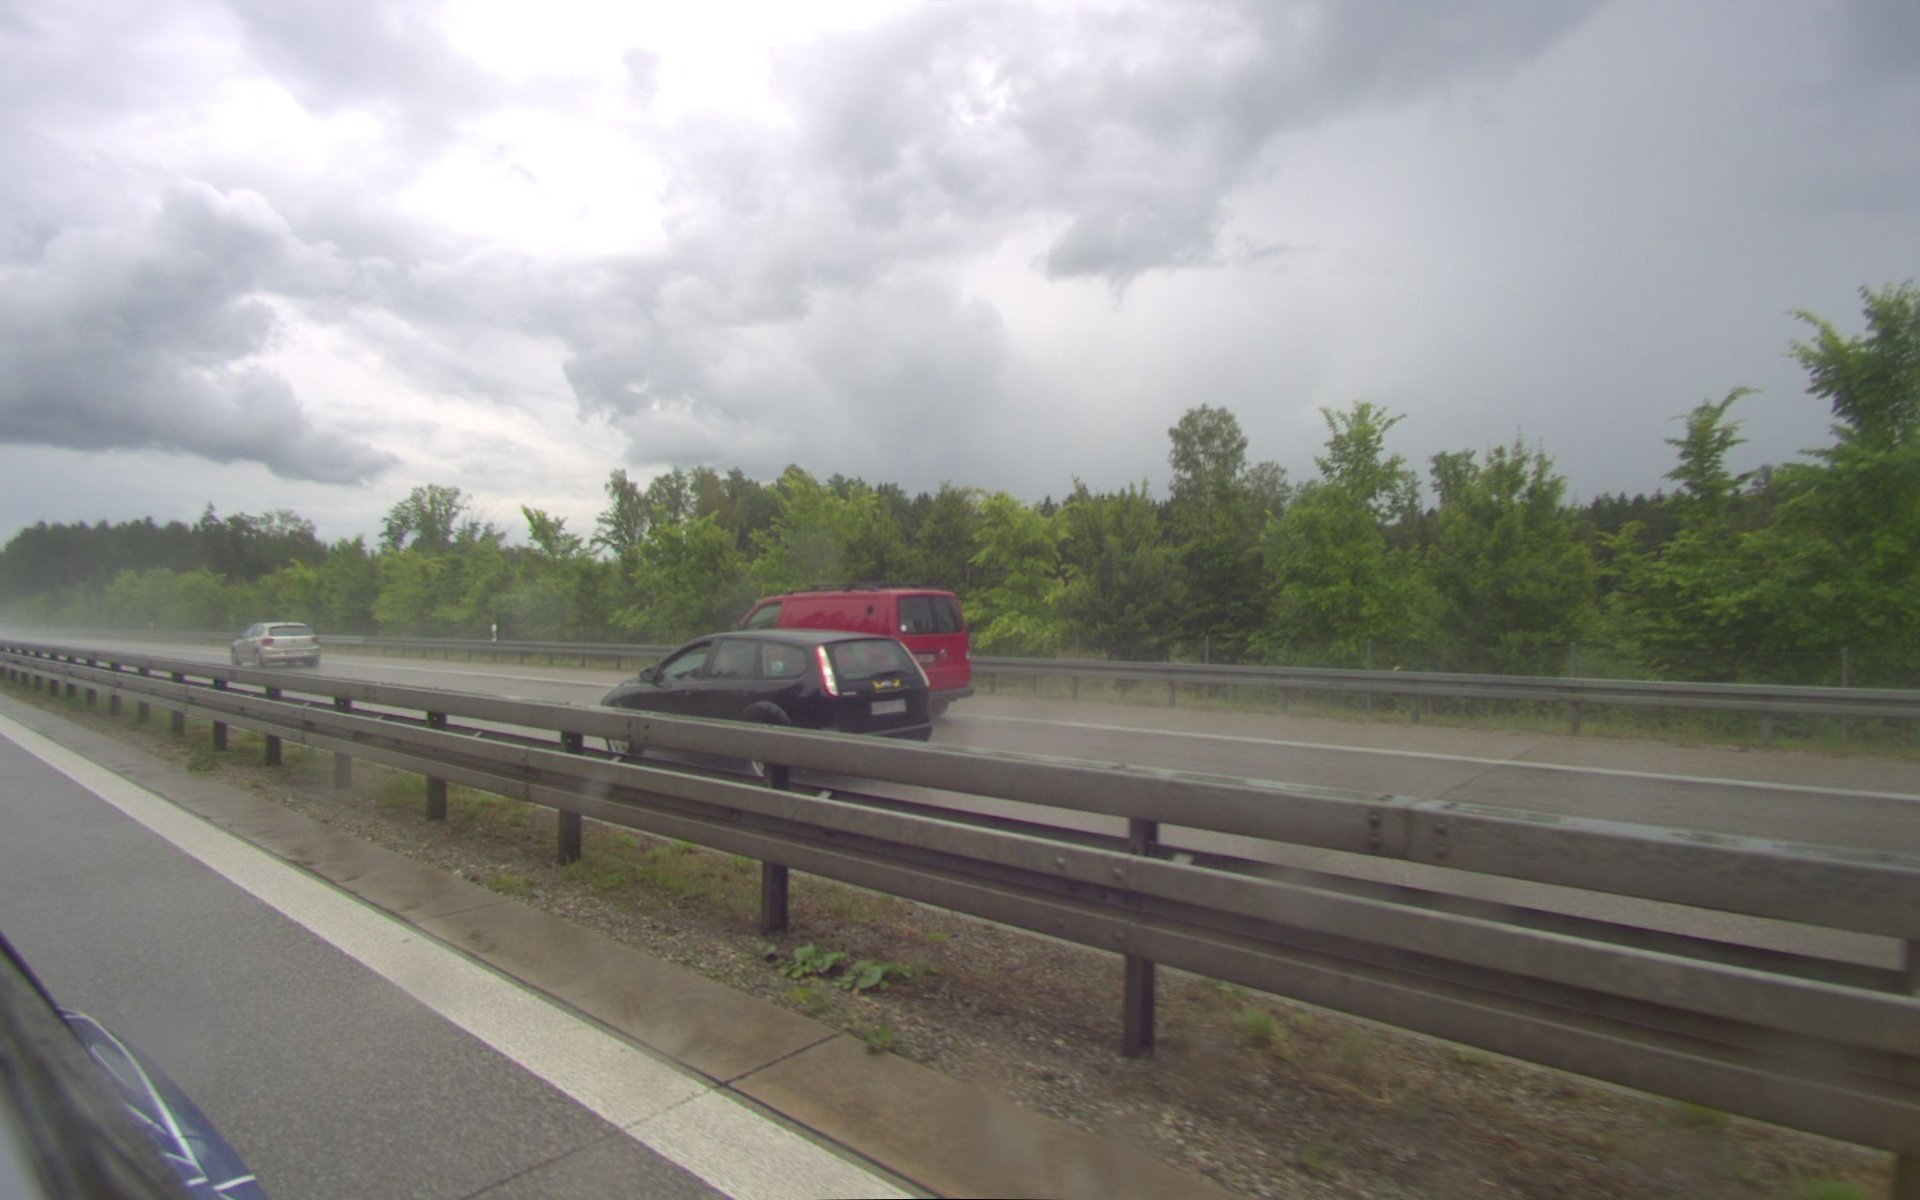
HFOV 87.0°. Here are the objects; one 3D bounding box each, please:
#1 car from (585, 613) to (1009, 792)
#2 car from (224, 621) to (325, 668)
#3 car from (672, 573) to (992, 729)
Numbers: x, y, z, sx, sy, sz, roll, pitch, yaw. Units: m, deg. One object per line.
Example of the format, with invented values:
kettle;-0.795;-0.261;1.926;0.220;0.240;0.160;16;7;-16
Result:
car;-1.876;0.957;10.739;4.554;1.494;1.973;-2;-4;41
car;-22.479;1.464;33.136;3.915;1.446;1.731;-2;-4;41
car;-2.178;0.786;16.027;5.310;2.080;1.973;-2;-4;41
